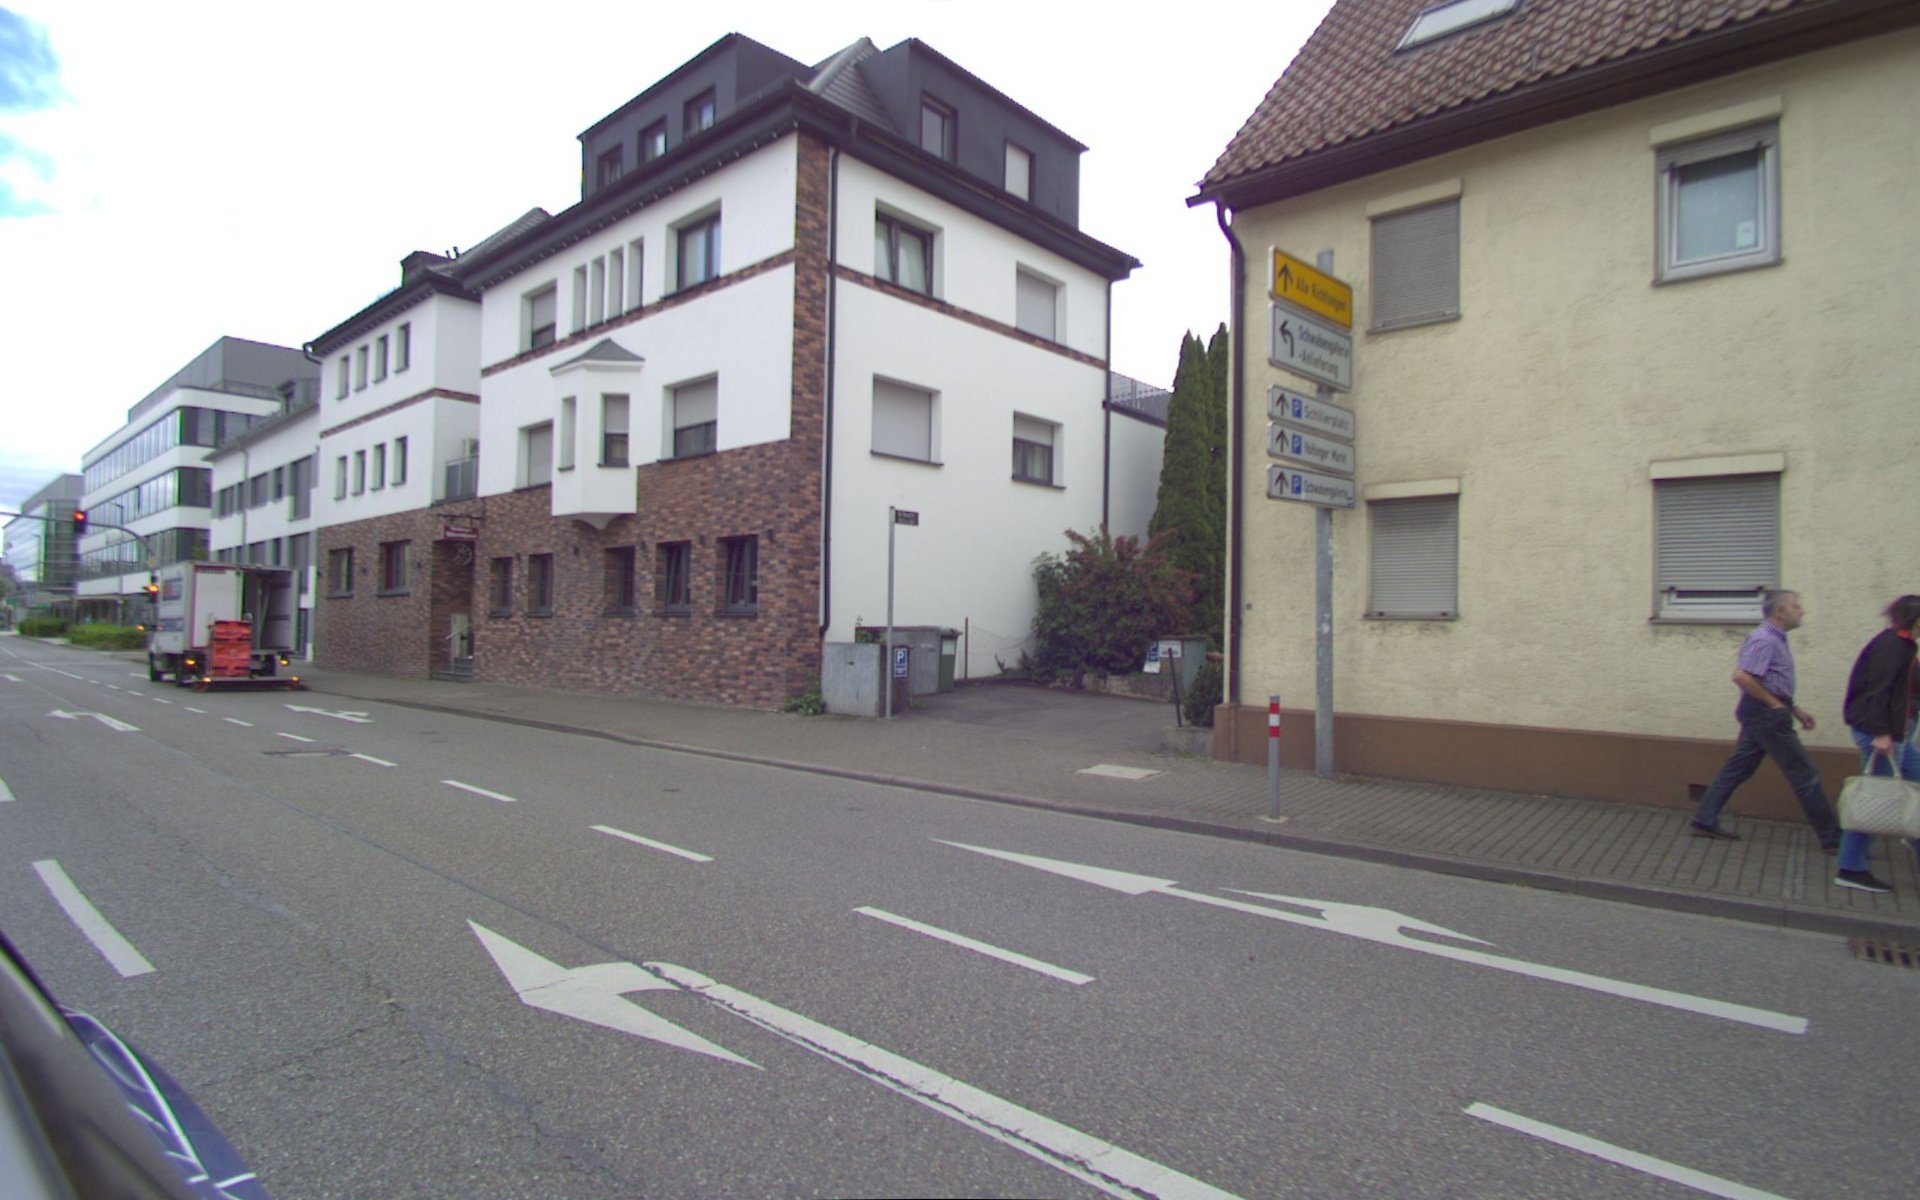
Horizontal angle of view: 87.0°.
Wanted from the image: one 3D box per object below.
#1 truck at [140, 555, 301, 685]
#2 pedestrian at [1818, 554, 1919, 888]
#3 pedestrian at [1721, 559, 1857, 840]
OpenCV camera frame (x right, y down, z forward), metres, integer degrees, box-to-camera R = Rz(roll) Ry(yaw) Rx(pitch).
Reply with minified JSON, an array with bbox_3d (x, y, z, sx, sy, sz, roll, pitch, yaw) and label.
[{"bbox_3d":[-19.316,0.487,26.290,5.967,2.993,2.434,-1,-1,44],"label":"truck"},{"bbox_3d":[5.239,0.643,5.585,0.717,1.750,0.670,-1,-2,43],"label":"pedestrian"},{"bbox_3d":[5.520,0.629,6.743,0.648,1.750,0.547,-1,-2,43],"label":"pedestrian"}]
